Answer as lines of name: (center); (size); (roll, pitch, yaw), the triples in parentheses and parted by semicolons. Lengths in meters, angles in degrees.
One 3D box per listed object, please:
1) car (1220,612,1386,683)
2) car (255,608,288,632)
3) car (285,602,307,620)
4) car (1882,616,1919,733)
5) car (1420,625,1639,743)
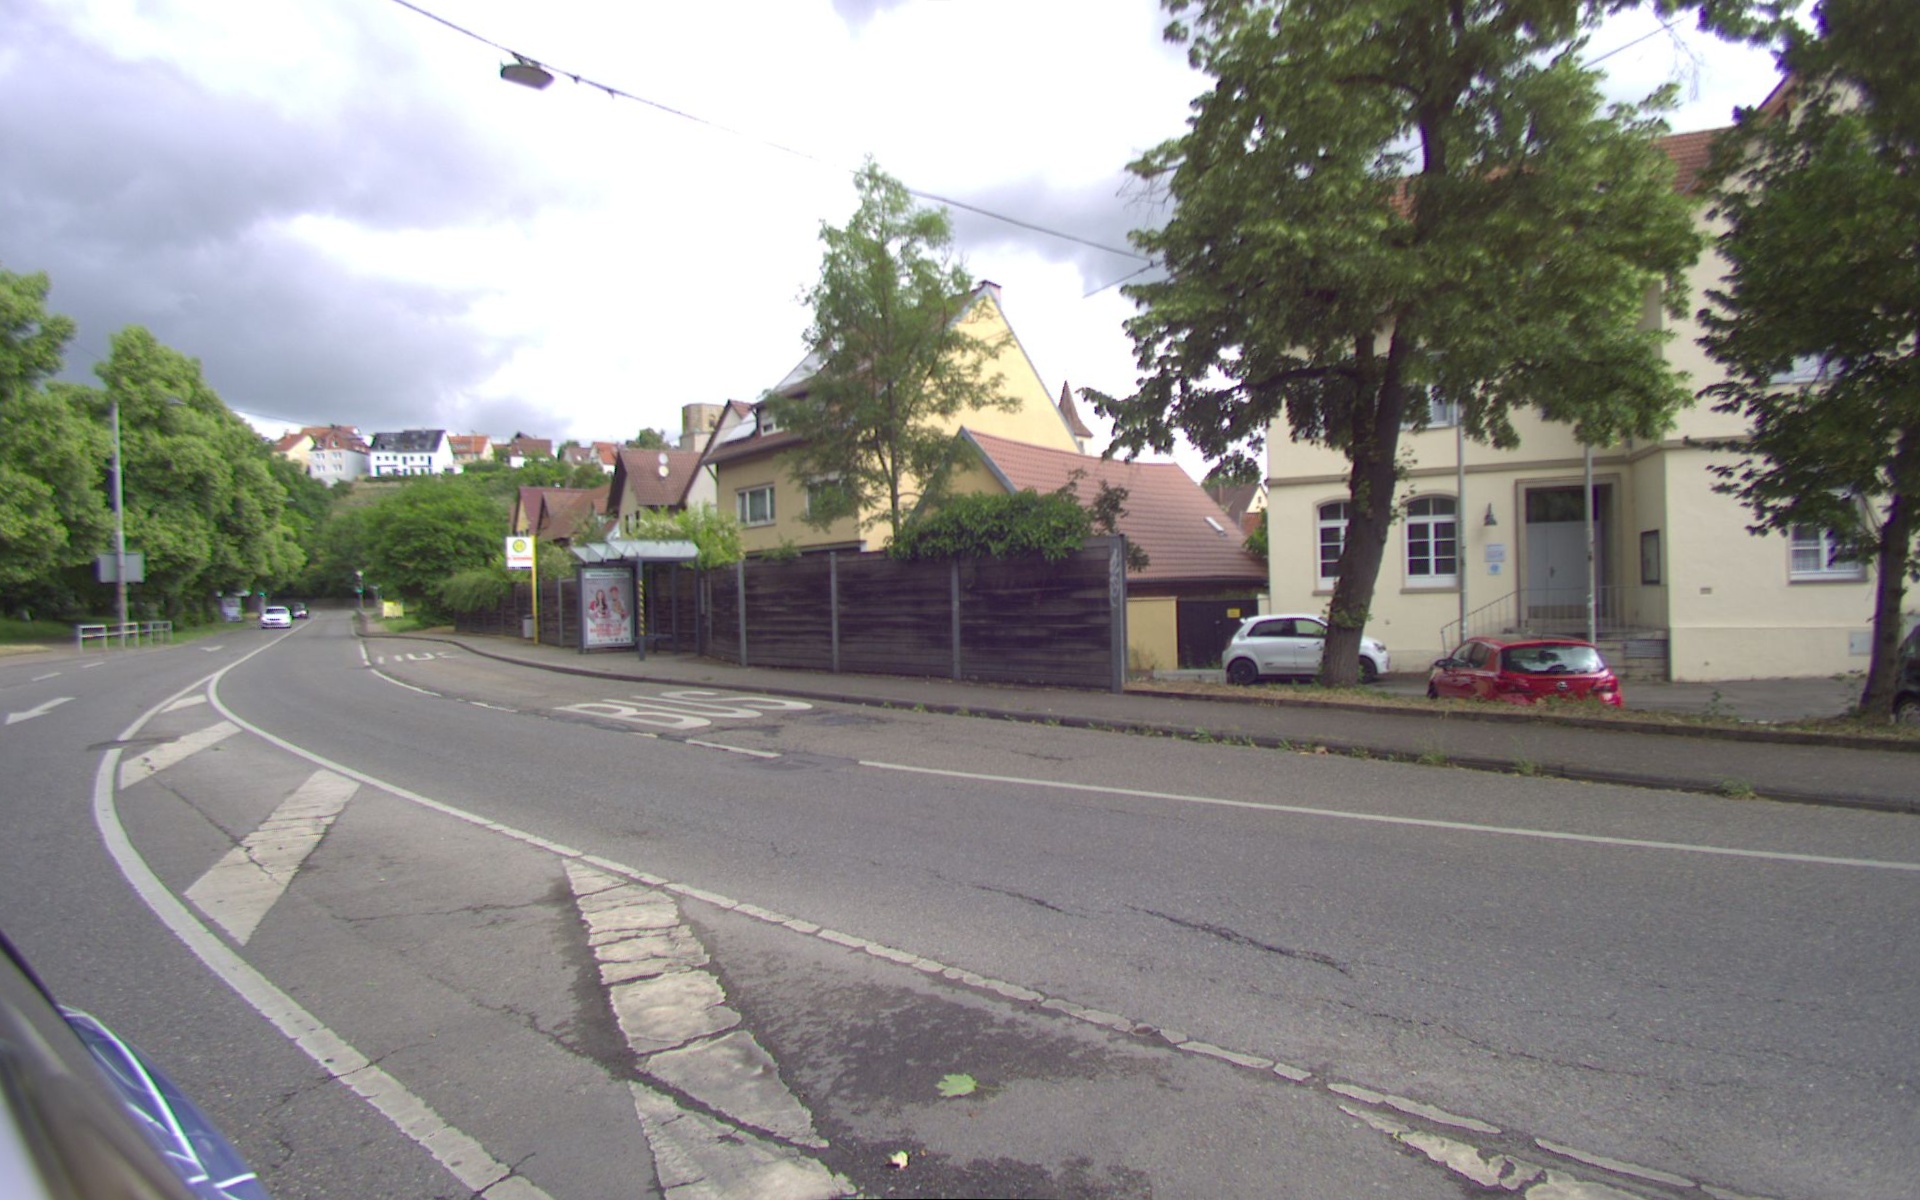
car: (7.723, 1.047, 22.898); (3.411, 1.490, 1.600); (-1, 0, 21)
car: (-47.000, 1.344, 69.147); (1.735, 1.536, 3.693); (-1, 0, -33)
car: (-64.518, 1.063, 98.315); (1.735, 1.596, 3.693); (-1, 0, -33)
car: (12.636, 0.928, 11.316); (1.626, 1.450, 3.567); (-1, 0, 7)
car: (8.194, 1.138, 14.954); (1.644, 1.393, 3.708); (-1, 0, 10)
